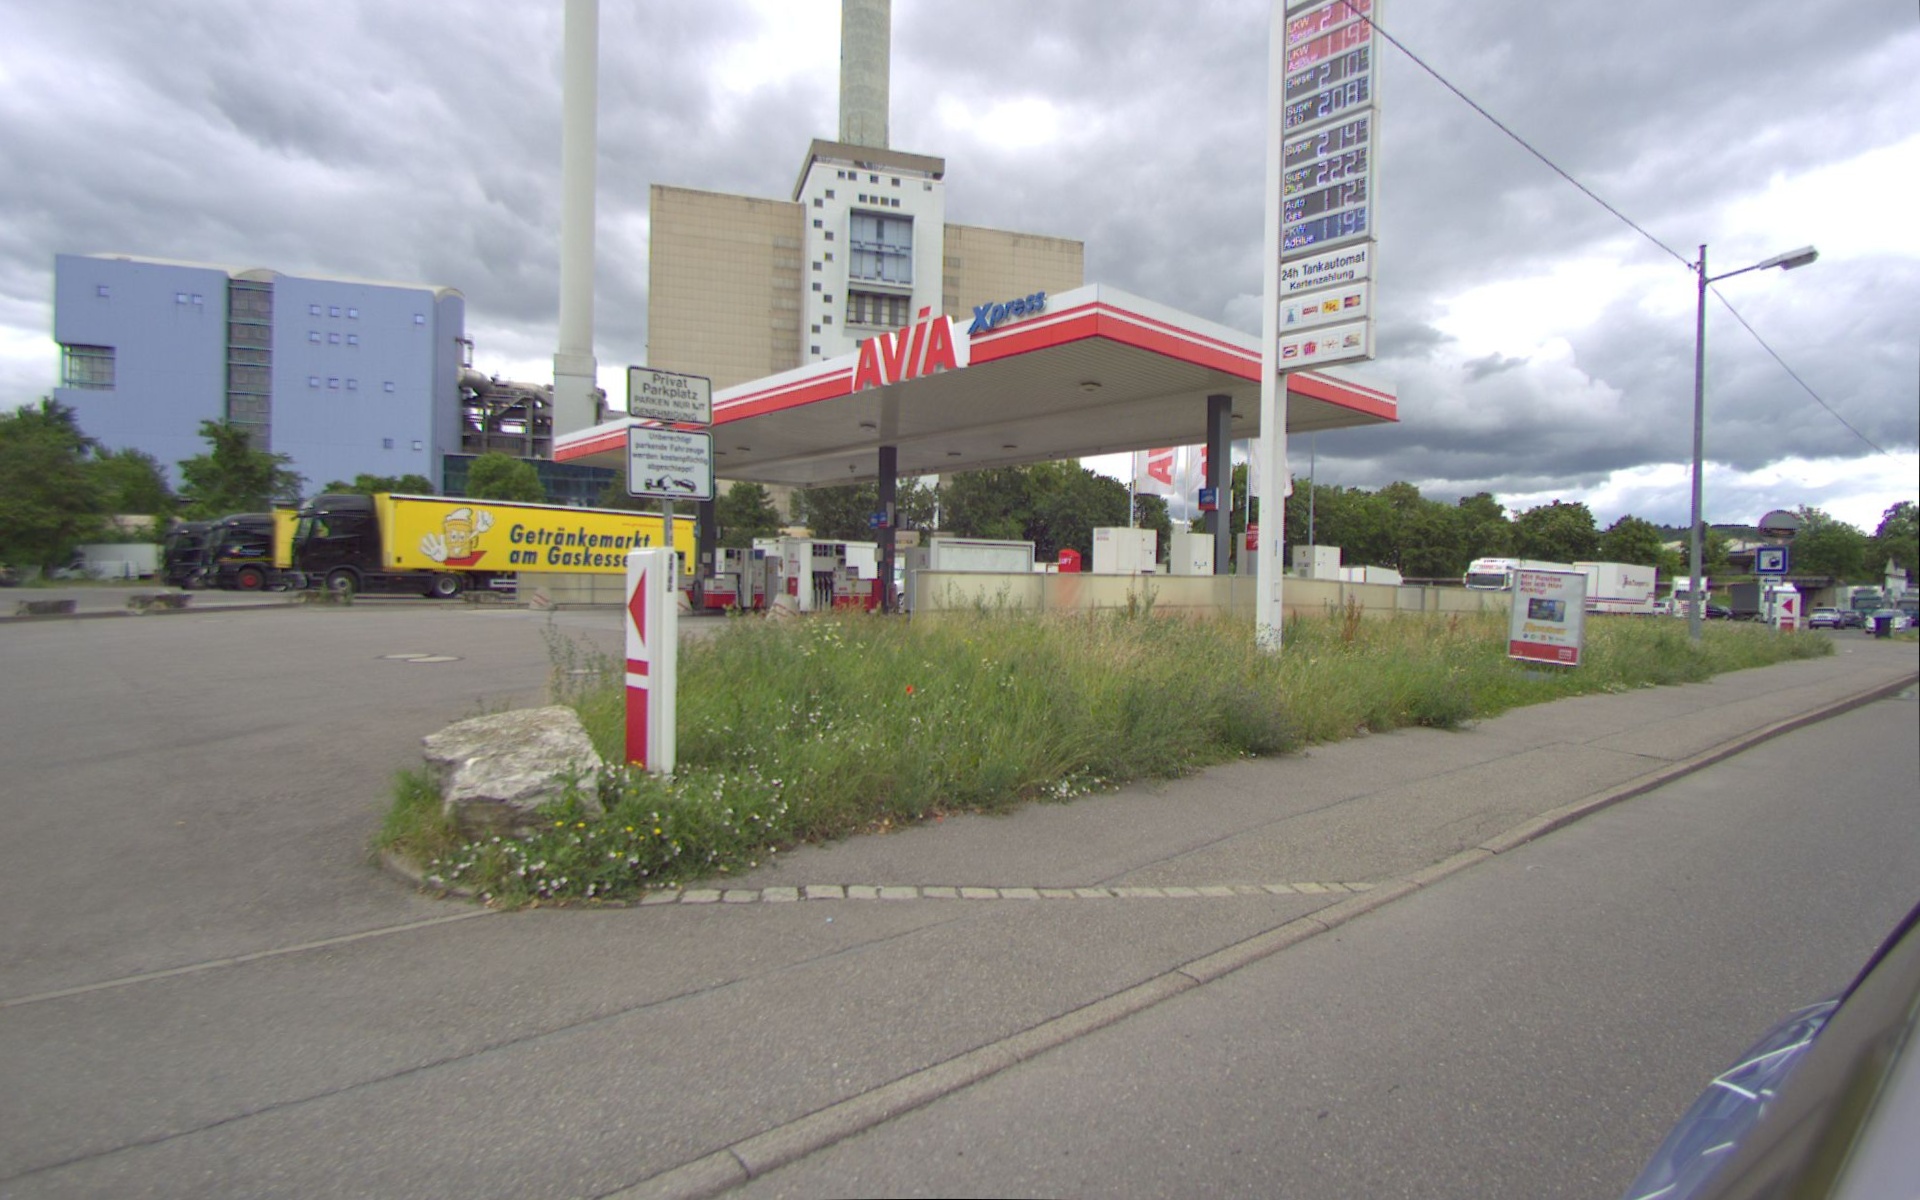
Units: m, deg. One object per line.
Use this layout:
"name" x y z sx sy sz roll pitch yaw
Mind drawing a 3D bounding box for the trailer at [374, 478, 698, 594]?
"trailer" -19.612 -2.766 48.196 14.057 4.782 3.004 0 1 -42

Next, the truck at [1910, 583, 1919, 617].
"truck" 107.939 0.007 111.536 2.807 3.758 9.004 1 1 31

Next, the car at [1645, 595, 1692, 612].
"car" 86.434 0.415 123.565 1.959 1.916 4.728 1 1 -9

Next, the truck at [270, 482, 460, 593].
"truck" -23.201 -2.327 39.609 5.938 3.964 2.961 0 1 -42

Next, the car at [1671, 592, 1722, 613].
"car" 91.475 0.331 125.747 2.321 2.480 4.928 1 1 -9

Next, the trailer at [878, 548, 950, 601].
"trailer" -4.710 -2.331 96.882 3.484 4.557 18.328 0 1 -13

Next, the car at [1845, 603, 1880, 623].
"car" 72.801 1.038 81.618 3.980 1.514 1.496 1 1 -40

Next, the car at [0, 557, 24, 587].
"car" -56.710 -1.637 58.129 3.945 1.671 1.829 1 1 -19

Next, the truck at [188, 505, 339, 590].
"truck" -34.882 -2.543 50.769 5.938 3.964 2.694 0 1 -42

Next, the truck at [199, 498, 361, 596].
"truck" -32.112 -2.407 47.890 5.938 4.315 3.048 0 1 -42

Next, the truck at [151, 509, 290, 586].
"truck" -40.905 -2.815 56.087 5.938 3.964 2.694 0 1 -42

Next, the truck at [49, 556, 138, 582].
"truck" -71.575 -2.556 83.695 5.179 1.953 2.005 1 1 -19

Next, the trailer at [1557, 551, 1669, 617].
"trailer" 43.189 -0.996 66.802 10.215 4.016 2.966 1 2 -39

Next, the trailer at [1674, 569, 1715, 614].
"trailer" 72.481 -0.833 100.015 2.822 4.146 13.228 3 1 35

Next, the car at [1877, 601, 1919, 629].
"car" 53.106 0.831 56.924 4.480 1.482 1.776 1 1 -41

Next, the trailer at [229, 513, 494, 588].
"trailer" -35.586 -2.815 60.960 13.455 3.963 2.694 0 1 -42

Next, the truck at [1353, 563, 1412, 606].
"truck" 40.456 -1.486 96.849 3.610 3.928 7.162 2 1 36

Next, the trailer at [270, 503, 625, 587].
"trailer" -28.021 -2.855 57.074 17.763 3.963 2.694 0 1 -42

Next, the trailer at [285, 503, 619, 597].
"trailer" -26.128 -2.391 53.381 15.456 4.313 3.025 0 1 -42

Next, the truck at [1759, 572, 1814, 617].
"truck" 80.283 -0.514 98.453 2.850 4.146 6.688 2 1 29

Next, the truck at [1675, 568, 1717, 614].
"truck" 69.033 -0.823 95.031 2.856 4.146 6.672 3 1 35

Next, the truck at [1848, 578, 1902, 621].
"truck" 90.595 -0.082 100.265 2.855 4.063 6.675 3 1 34

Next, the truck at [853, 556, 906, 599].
"truck" -7.363 -2.033 91.238 3.633 3.602 7.271 1 1 -13

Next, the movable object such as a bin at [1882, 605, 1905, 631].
"movable object such as a bin" 41.364 0.785 44.849 0.714 1.095 0.652 1 0 43

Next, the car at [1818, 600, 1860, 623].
"car" 62.939 0.850 72.483 3.931 1.591 1.767 0 -1 -42

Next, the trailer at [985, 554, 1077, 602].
"trailer" 6.613 -2.093 99.822 3.566 4.225 18.540 1 1 -13

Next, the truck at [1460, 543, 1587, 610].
"truck" 37.496 -1.442 67.025 12.841 4.016 3.081 0 3 -41

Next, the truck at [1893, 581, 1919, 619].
"truck" 95.592 -0.006 100.747 2.855 3.675 6.675 3 1 34

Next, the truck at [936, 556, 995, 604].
"truck" 0.410 -1.852 92.997 3.633 4.172 7.272 1 1 -15

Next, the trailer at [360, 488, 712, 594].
"trailer" -17.973 -2.316 44.415 14.057 3.963 3.004 0 1 -42

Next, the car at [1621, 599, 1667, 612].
"car" 83.909 0.673 124.248 1.959 1.458 4.728 1 1 -9

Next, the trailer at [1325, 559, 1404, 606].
"trailer" 36.759 -1.502 91.525 3.619 3.959 13.564 2 1 35

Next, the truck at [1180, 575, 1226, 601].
"truck" 26.759 -1.363 111.583 2.233 2.521 5.973 2 2 -15
